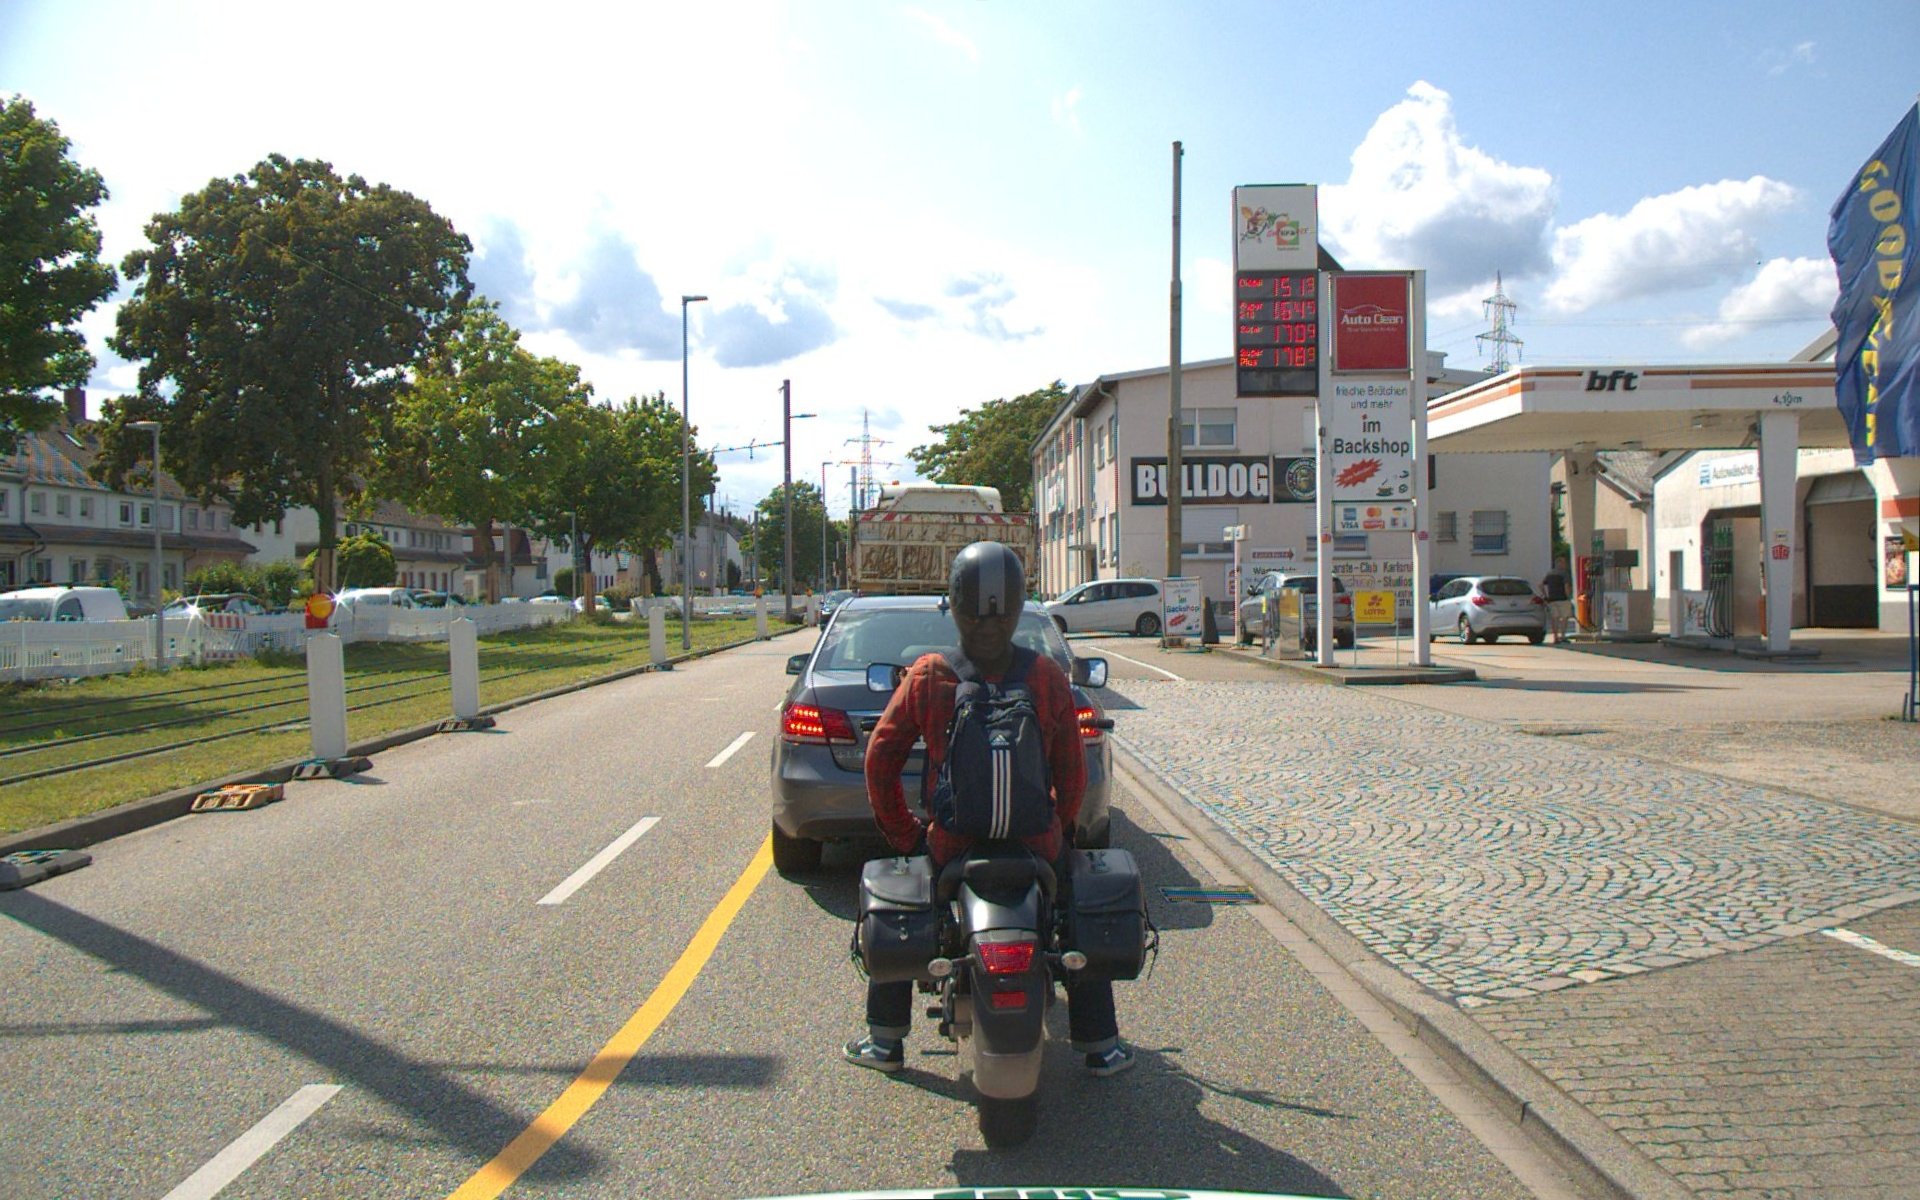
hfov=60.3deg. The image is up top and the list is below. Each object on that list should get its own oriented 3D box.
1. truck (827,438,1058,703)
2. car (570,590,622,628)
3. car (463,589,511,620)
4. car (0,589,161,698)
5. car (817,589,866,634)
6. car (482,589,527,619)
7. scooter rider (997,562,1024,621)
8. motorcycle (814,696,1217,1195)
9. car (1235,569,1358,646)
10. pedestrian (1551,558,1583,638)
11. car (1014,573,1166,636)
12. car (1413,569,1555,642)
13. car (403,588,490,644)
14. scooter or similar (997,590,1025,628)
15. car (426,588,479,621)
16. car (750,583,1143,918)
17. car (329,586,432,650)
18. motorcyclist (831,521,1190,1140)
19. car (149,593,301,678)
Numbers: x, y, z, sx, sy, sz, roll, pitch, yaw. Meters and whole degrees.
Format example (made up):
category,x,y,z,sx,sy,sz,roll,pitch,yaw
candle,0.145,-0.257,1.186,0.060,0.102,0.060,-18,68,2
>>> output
category,x,y,z,sx,sy,sz,roll,pitch,yaw
truck,-0.356,-0.421,25.468,2.910,3.362,8.404,-1,0,-2
car,-17.489,0.402,79.613,1.664,1.770,3.860,-1,0,-1
car,-28.058,0.254,98.146,1.664,1.770,4.061,-1,0,-1
car,-16.417,0.744,30.294,1.664,1.849,3.860,-1,0,-1
car,-4.519,0.415,63.601,1.646,1.652,4.118,-1,0,-1
car,-28.660,0.224,104.148,1.664,1.770,4.061,-1,0,-1
scooter rider,1.589,-0.266,51.981,0.779,1.850,0.508,-1,0,-1
motorcycle,0.117,0.903,5.193,0.956,1.031,2.431,1,0,-1
car,7.402,0.142,36.753,1.795,1.562,4.008,-1,0,-2
pedestrian,13.135,-0.047,35.790,0.621,1.712,0.622,-1,0,20
car,3.671,0.117,47.083,4.029,1.652,1.682,-1,0,-9
car,11.773,0.102,37.419,1.795,1.505,4.008,-1,0,-2
car,-17.018,0.496,54.981,1.664,1.770,3.860,-1,0,-1
scooter or similar,1.600,0.282,51.968,0.779,1.165,1.519,-1,0,-1
car,-28.178,0.240,91.936,1.664,1.770,4.061,-1,0,-1
car,-0.120,0.678,9.689,1.795,1.505,4.008,-1,0,-2
car,-16.984,0.494,48.615,1.664,1.770,3.860,-1,0,-1
motorcyclist,0.128,0.620,5.075,0.950,1.662,1.214,1,0,-1
car,-16.672,0.758,37.718,1.664,1.770,4.053,-1,0,-1
